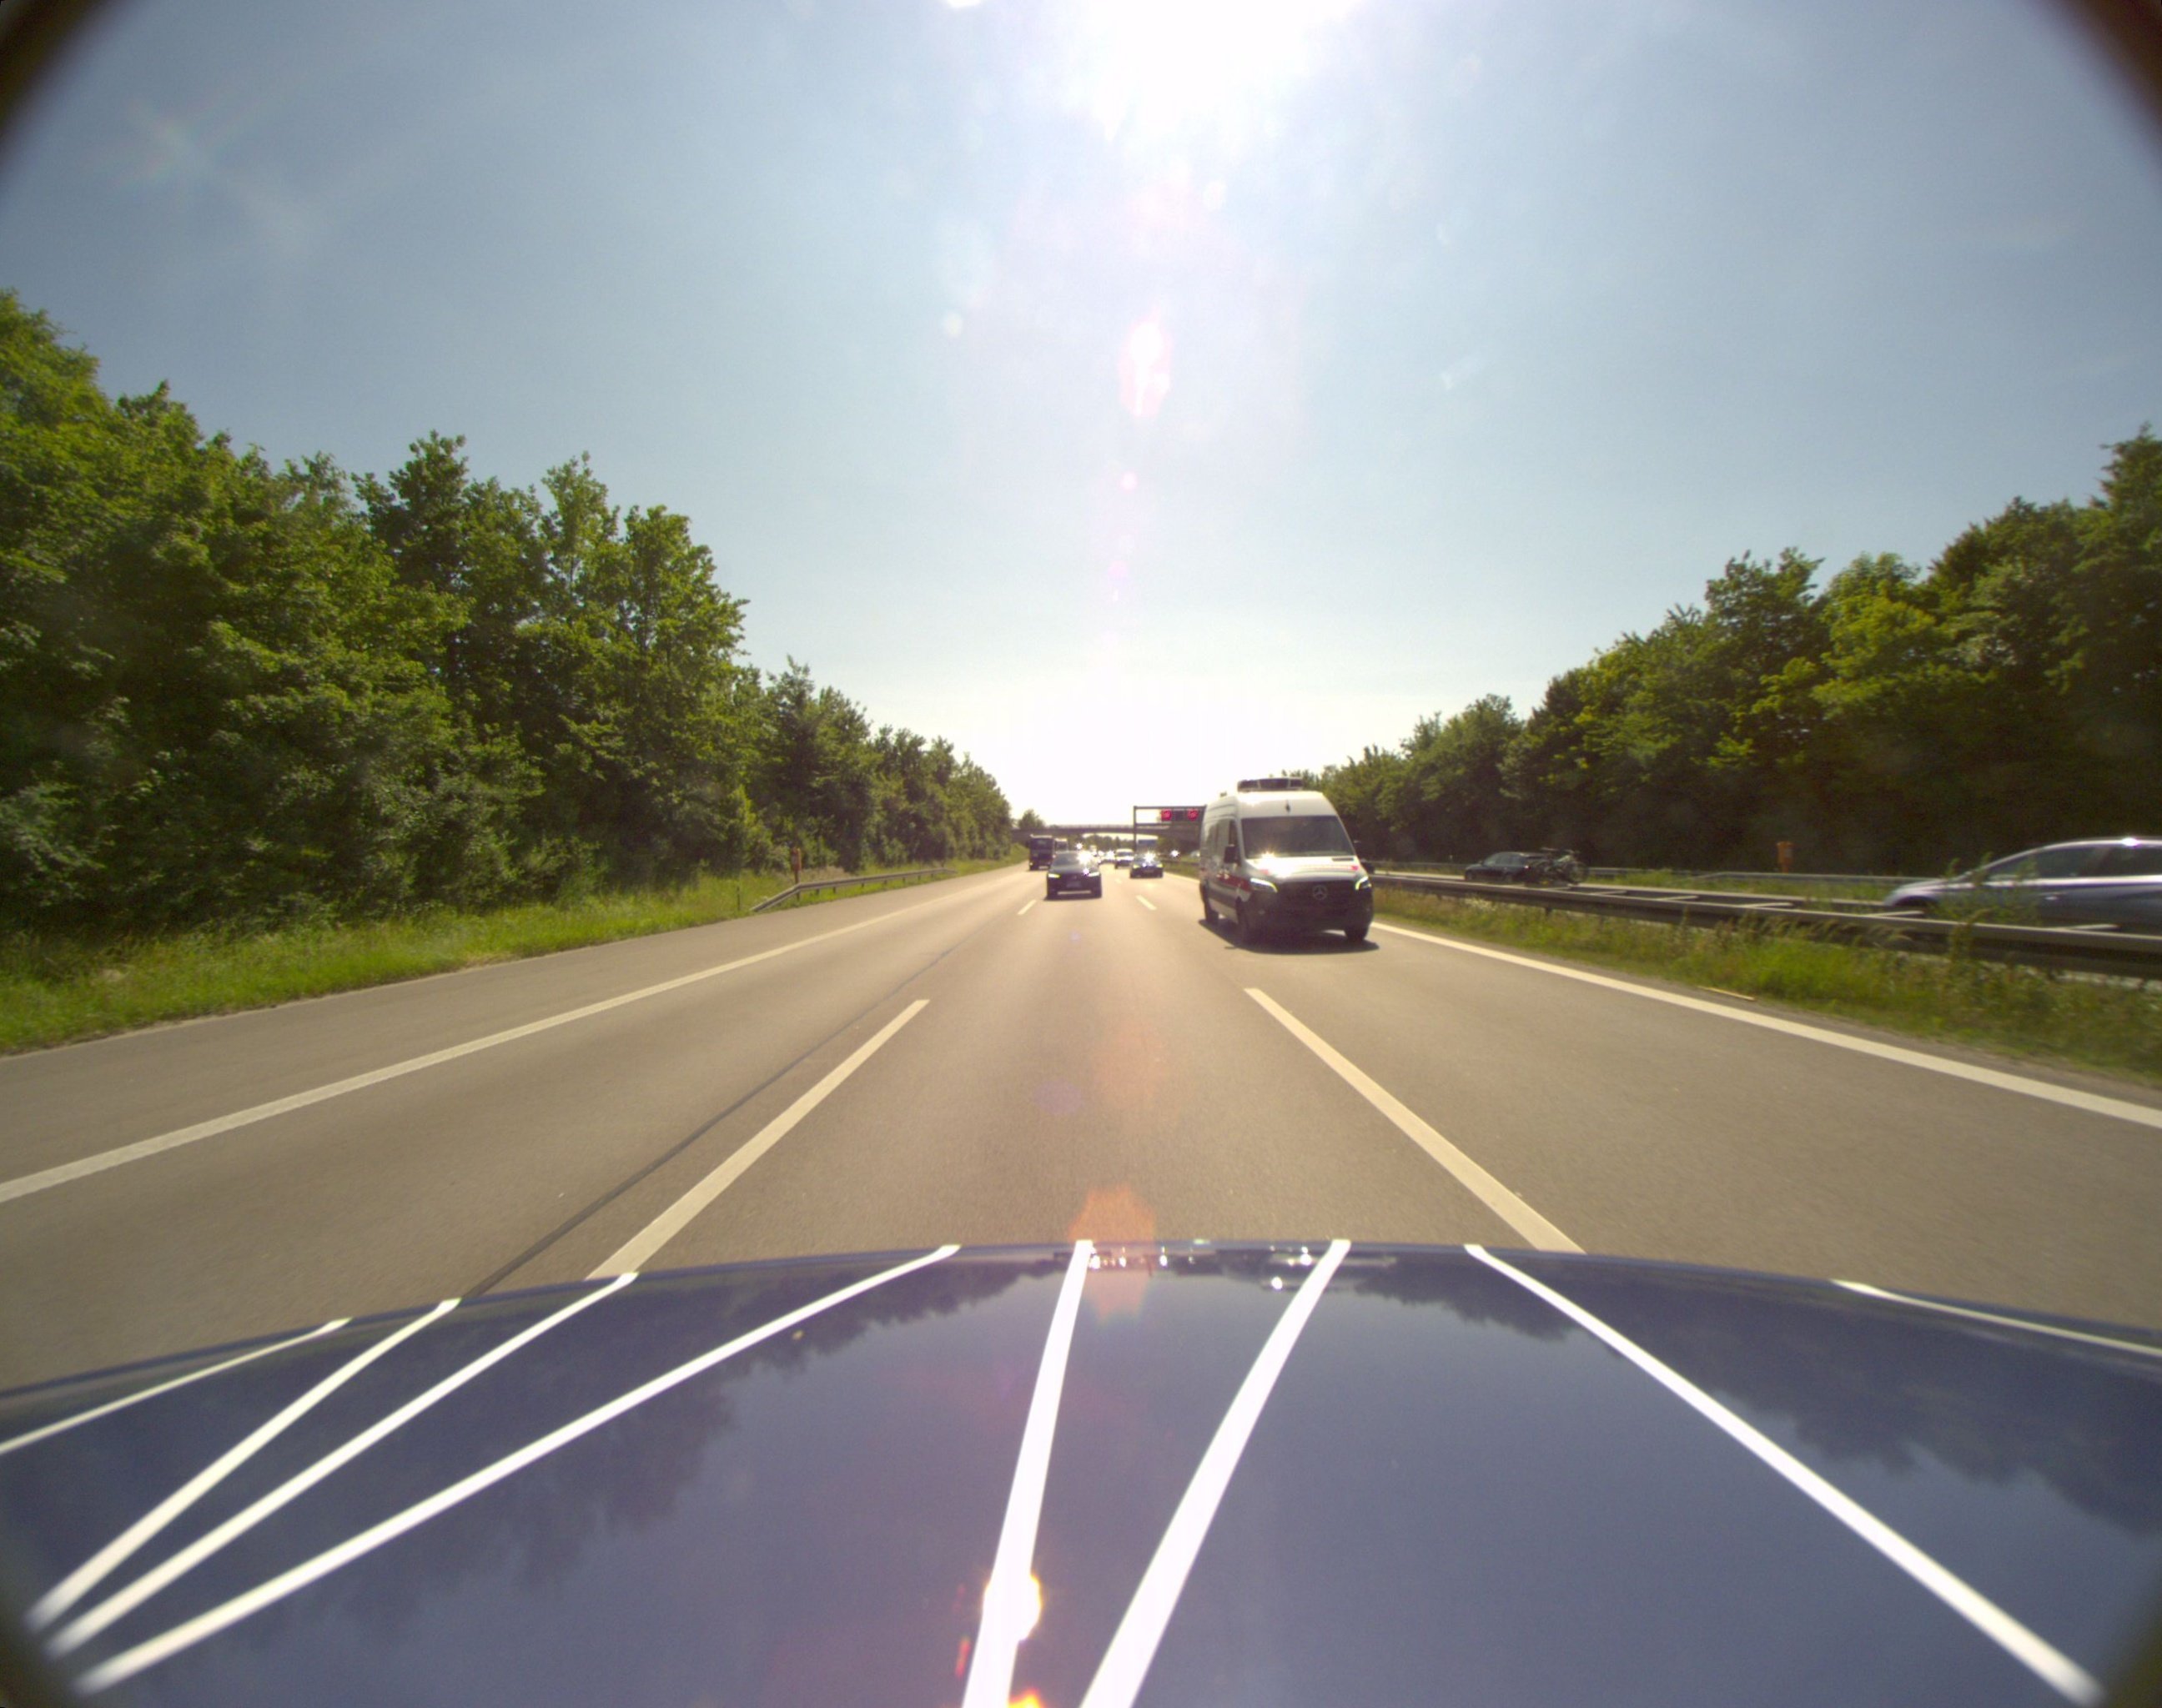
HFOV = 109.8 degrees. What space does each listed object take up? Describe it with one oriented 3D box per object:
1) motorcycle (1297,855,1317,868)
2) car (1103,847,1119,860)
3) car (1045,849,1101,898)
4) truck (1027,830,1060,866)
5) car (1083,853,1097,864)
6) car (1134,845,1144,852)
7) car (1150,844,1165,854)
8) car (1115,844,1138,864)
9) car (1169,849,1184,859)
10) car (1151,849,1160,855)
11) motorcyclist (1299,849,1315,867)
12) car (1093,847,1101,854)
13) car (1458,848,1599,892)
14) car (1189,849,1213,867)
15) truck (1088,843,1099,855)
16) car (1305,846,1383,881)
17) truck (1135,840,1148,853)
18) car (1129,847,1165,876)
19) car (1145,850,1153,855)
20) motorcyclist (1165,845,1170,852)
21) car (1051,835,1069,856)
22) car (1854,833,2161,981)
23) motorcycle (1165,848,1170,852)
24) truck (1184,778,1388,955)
[{"bbox_3d":[19.044,0.630,64.045,0.937,1.012,2.654,-1,0,0],"label":"motorcycle"},{"bbox_3d":[3.766,-0.046,95.648,1.998,1.540,3.999,-1,2,2],"label":"car"},{"bbox_3d":[-0.215,0.657,27.677,1.811,1.648,4.000,-1,0,2],"label":"car"},{"bbox_3d":[-3.690,-0.625,76.306,2.965,3.388,8.046,0,1,0],"label":"truck"},{"bbox_3d":[1.314,0.631,112.479,1.742,1.630,3.845,0,1,5],"label":"car"},{"bbox_3d":[13.061,-1.185,171.261,1.999,1.589,4.591,-1,1,0],"label":"car"},{"bbox_3d":[11.949,-0.762,119.004,1.998,1.511,4.428,0,0,1],"label":"car"},{"bbox_3d":[4.208,0.013,70.174,1.870,1.713,3.979,-1,2,0],"label":"car"},{"bbox_3d":[15.801,-0.079,125.506,1.872,1.576,4.557,0,1,0],"label":"car"},{"bbox_3d":[19.978,-0.494,202.727,1.907,1.456,5.065,0,1,0],"label":"car"},{"bbox_3d":[19.023,0.330,63.956,0.943,1.435,1.356,-1,1,-1],"label":"motorcyclist"},{"bbox_3d":[4.351,-0.981,204.481,1.998,2.002,4.345,-1,0,2],"label":"car"},{"bbox_3d":[16.428,0.528,28.360,1.998,1.466,5.622,-1,0,1],"label":"car"},{"bbox_3d":[12.719,0.387,80.646,1.694,1.871,5.018,-1,0,-1],"label":"car"},{"bbox_3d":[3.952,-1.675,247.365,3.242,3.684,10.933,0,1,0],"label":"truck"},{"bbox_3d":[12.002,0.407,35.029,1.998,1.466,4.830,-1,0,1],"label":"car"},{"bbox_3d":[15.675,-1.907,196.277,2.786,3.286,8.056,-1,2,0],"label":"truck"},{"bbox_3d":[3.889,0.410,45.210,1.904,1.616,4.241,-2,0,2],"label":"car"},{"bbox_3d":[20.550,-0.395,229.424,1.998,1.434,4.532,-1,1,2],"label":"car"},{"bbox_3d":[19.487,-1.176,171.237,0.807,1.491,0.931,-1,1,0],"label":"motorcyclist"},{"bbox_3d":[-4.017,-1.592,148.536,3.202,3.997,8.125,0,1,0],"label":"car"},{"bbox_3d":[11.813,0.514,8.530,1.959,1.474,4.346,-1,0,2],"label":"car"},{"bbox_3d":[19.500,-0.959,171.375,0.807,0.940,2.221,-1,1,0],"label":"motorcycle"},{"bbox_3d":[3.482,0.177,14.545,1.999,2.527,6.691,-2,0,0],"label":"truck"}]
